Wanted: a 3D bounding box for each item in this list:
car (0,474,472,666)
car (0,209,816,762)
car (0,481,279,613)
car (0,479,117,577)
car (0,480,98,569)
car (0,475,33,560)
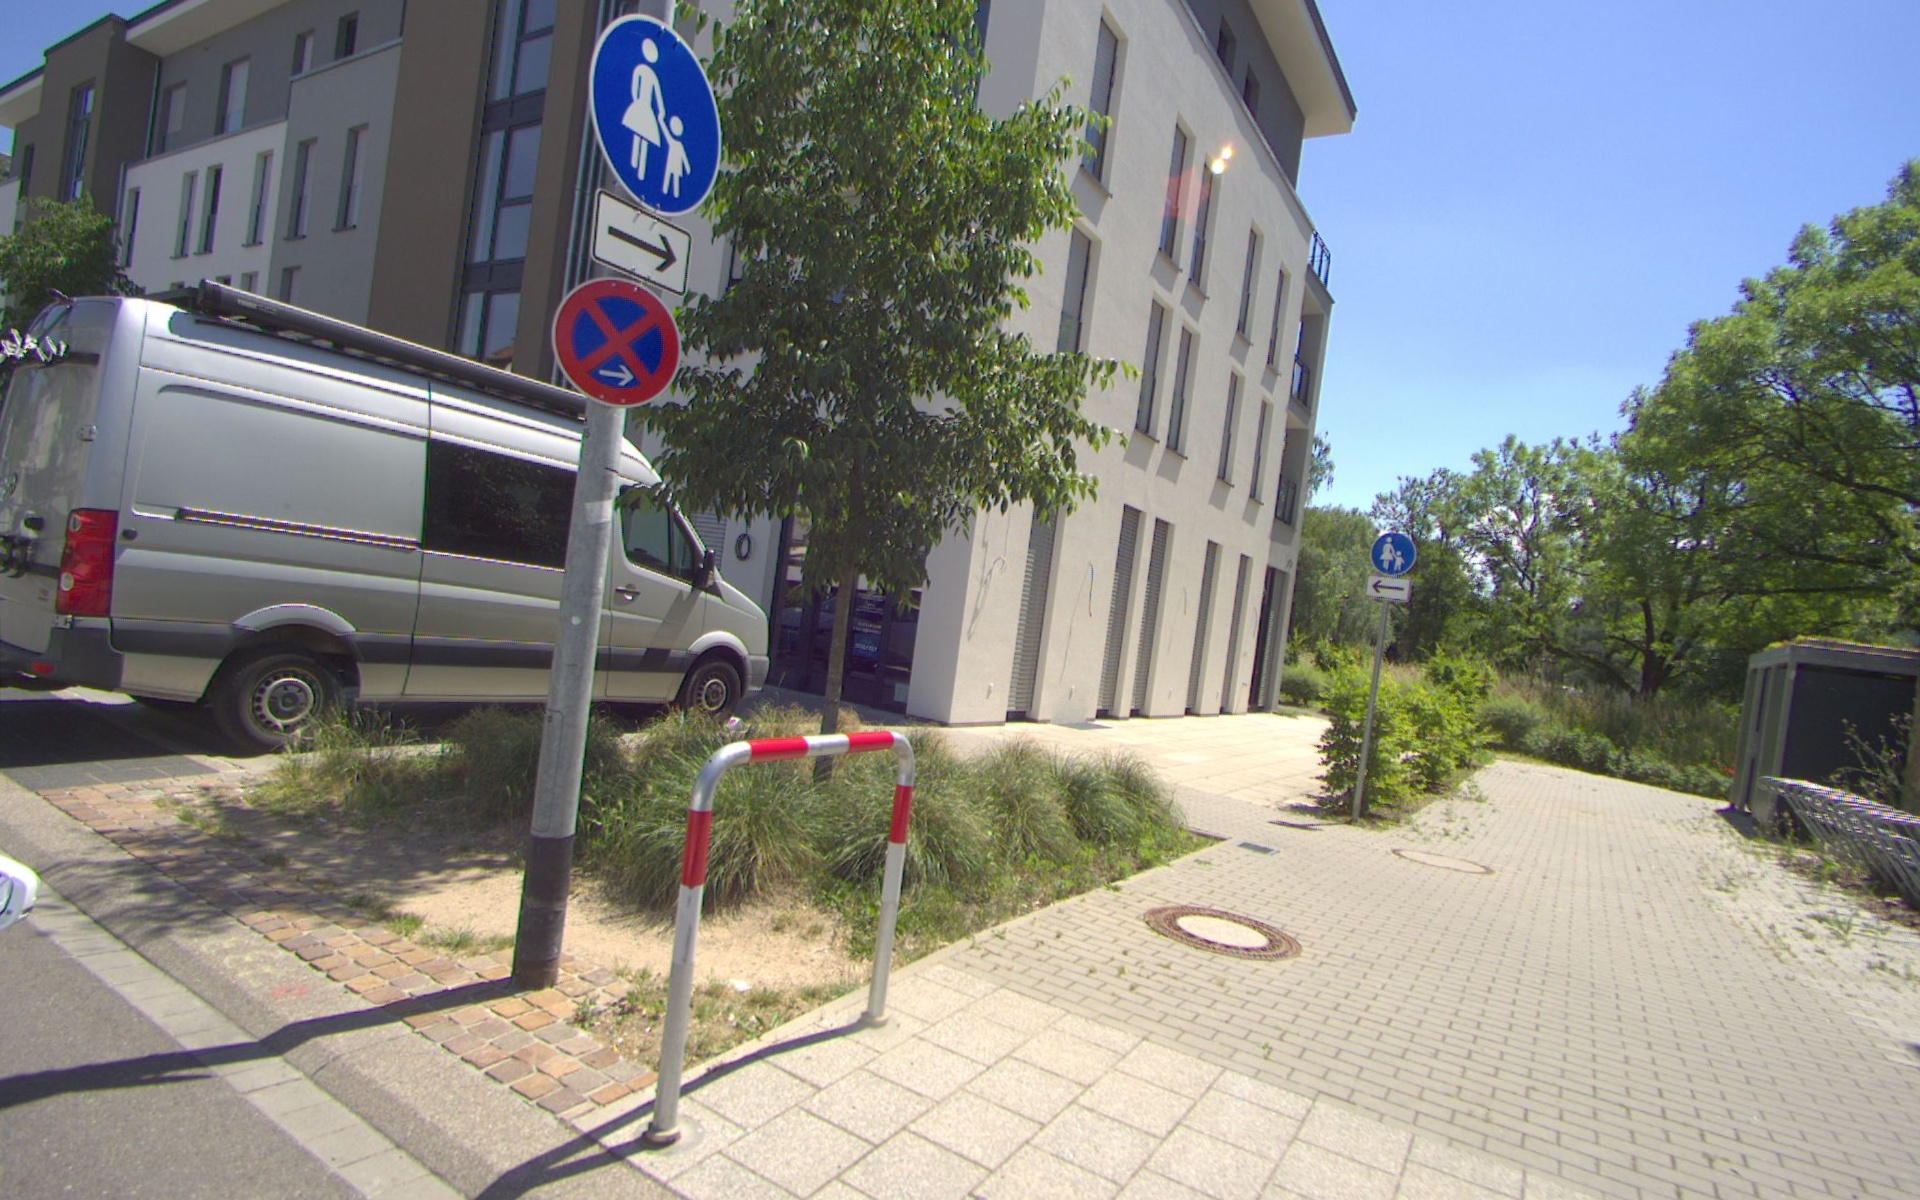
[{"bbox_3d":[-8.077,-0.250,10.860,1.968,1.547,4.592,7,-1,34],"label":"car"},{"bbox_3d":[-4.074,-0.426,8.091,2.160,2.765,5.946,7,-1,33],"label":"car"},{"bbox_3d":[-12.213,-0.764,13.822,1.896,1.433,4.265,7,-1,30],"label":"car"},{"bbox_3d":[-16.237,-1.320,15.954,1.826,1.426,3.974,7,0,32],"label":"car"},{"bbox_3d":[-18.120,-1.543,17.776,1.734,1.449,3.985,7,-1,32],"label":"car"},{"bbox_3d":[-20.542,-1.867,19.019,1.911,1.624,3.985,7,-1,32],"label":"car"}]
